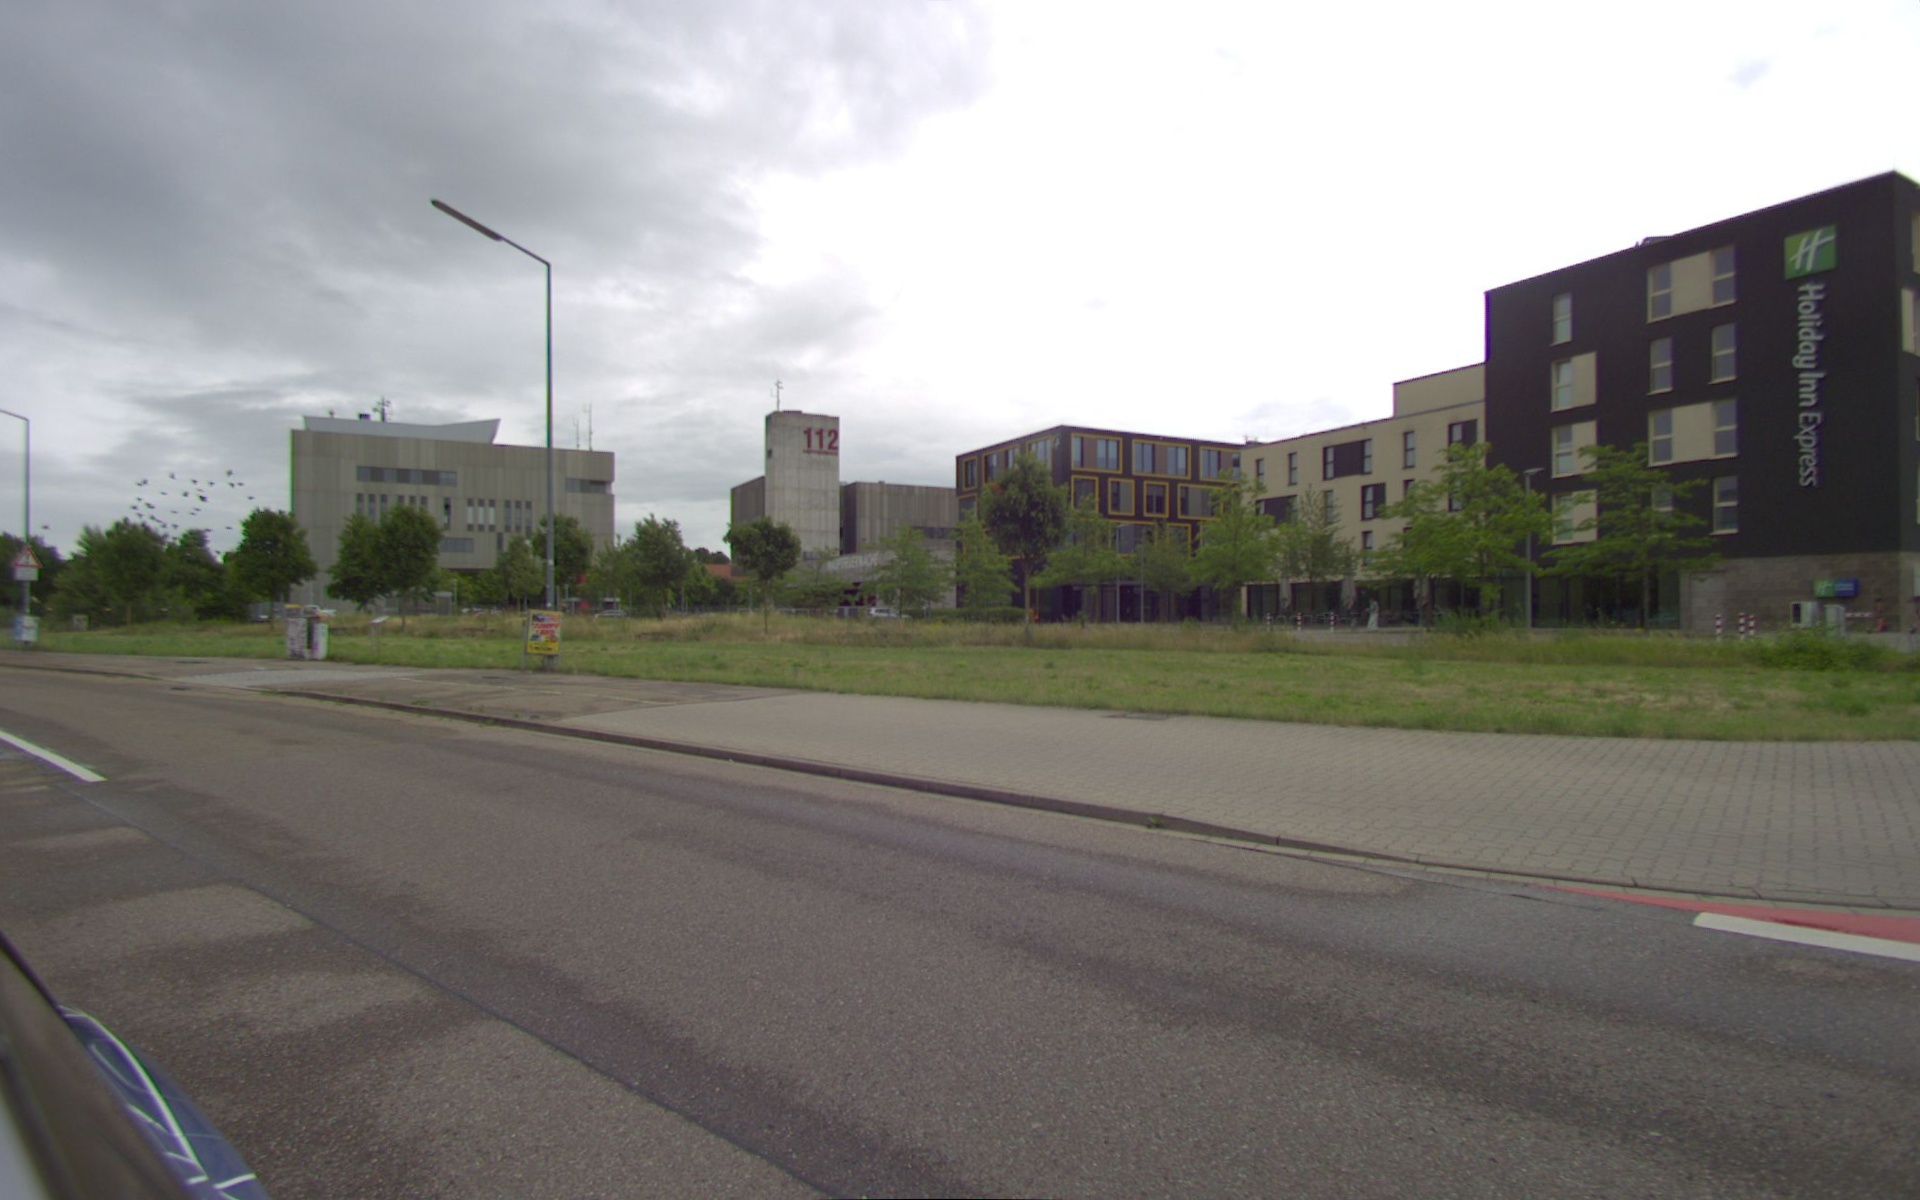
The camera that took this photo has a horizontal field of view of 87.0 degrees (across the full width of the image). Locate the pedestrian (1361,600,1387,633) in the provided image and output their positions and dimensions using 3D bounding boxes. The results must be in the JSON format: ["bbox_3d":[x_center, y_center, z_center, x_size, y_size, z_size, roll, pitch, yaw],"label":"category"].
[{"bbox_3d":[19.957,0.784,48.790,0.876,1.583,0.940,-2,-2,44],"label":"pedestrian"}]

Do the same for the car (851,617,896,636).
[{"bbox_3d":[-7.099,2.182,82.951,1.966,1.535,4.010,2,-3,-34],"label":"car"}]
